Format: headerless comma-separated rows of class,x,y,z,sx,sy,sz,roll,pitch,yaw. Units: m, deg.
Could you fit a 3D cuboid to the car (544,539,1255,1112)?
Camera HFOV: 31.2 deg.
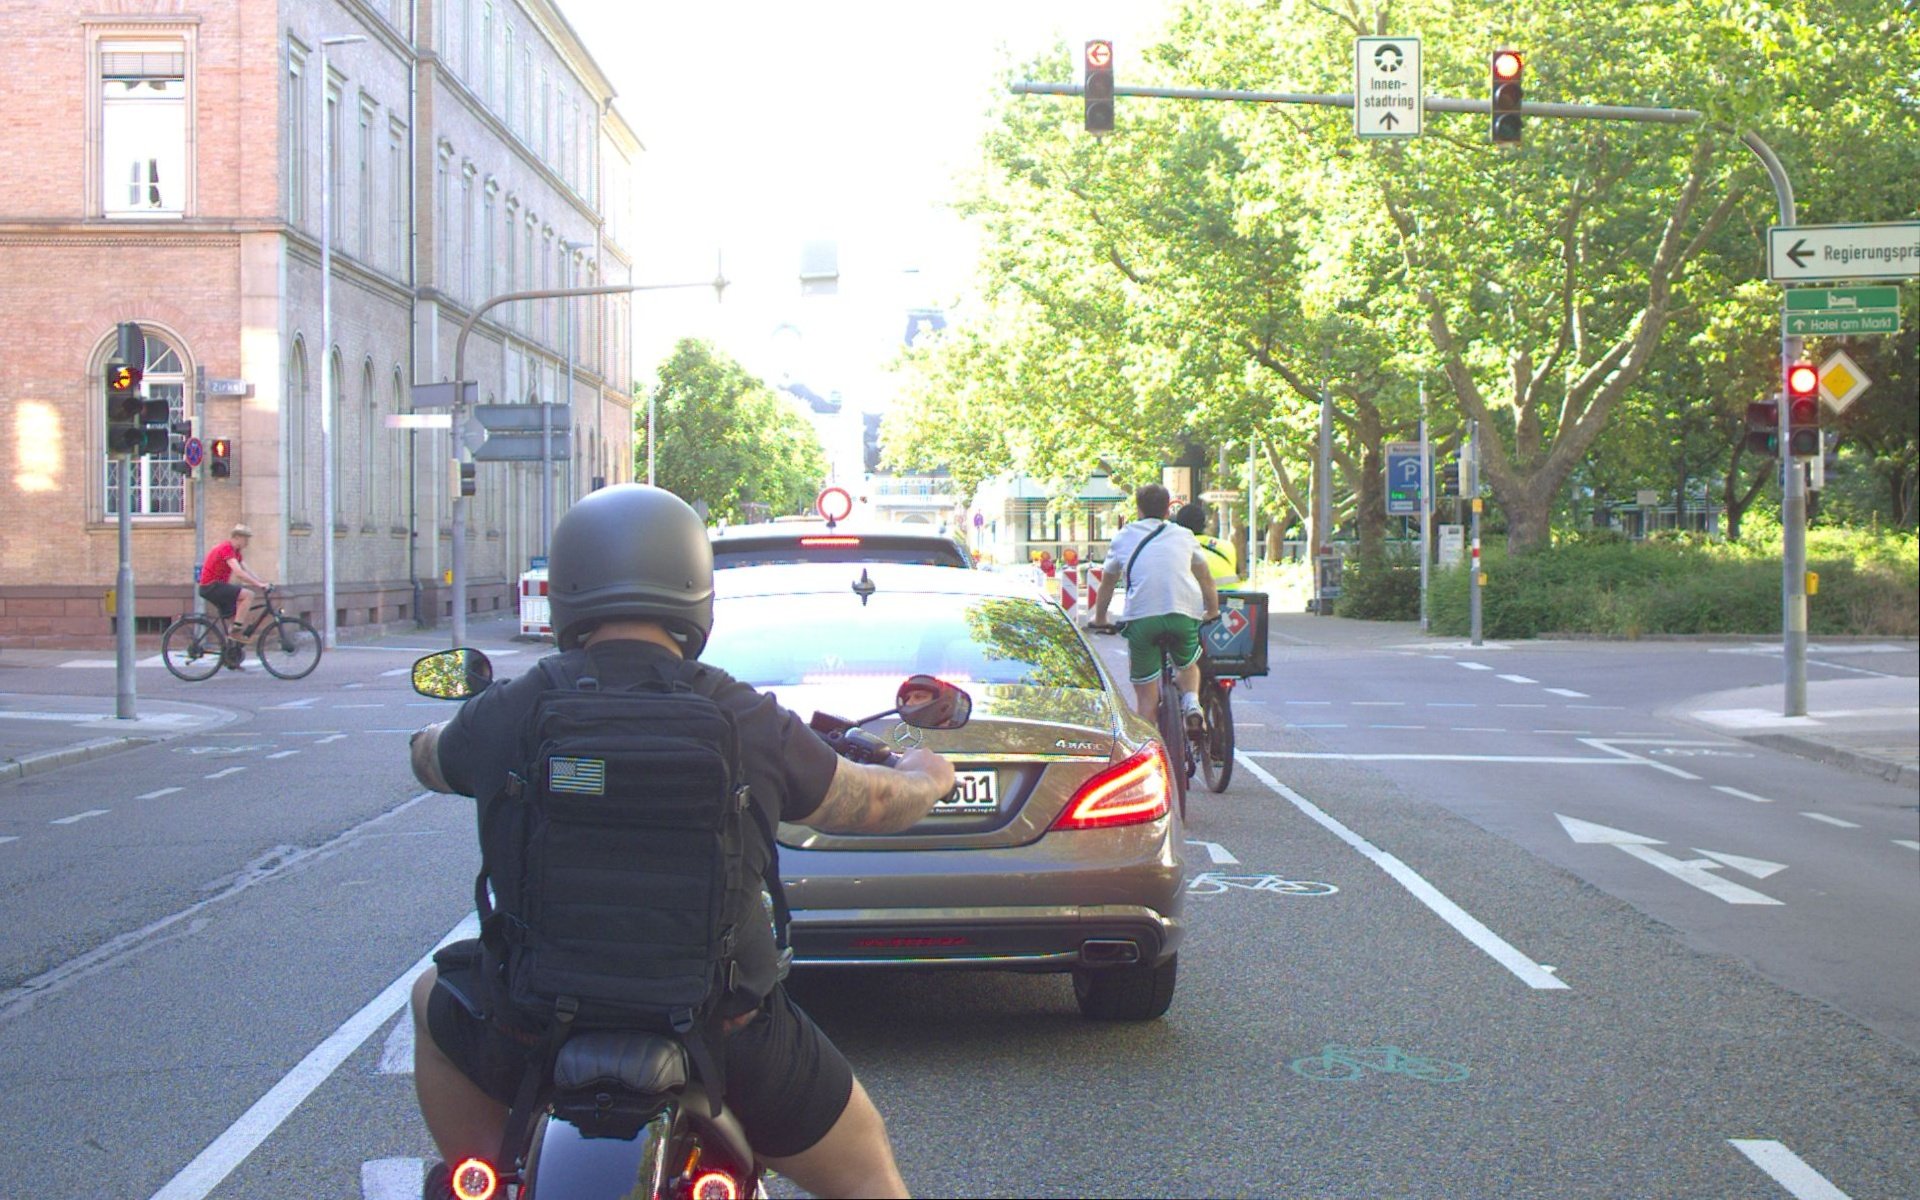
car,-0.406,0.569,11.138,1.824,1.481,4.334,1,1,-7

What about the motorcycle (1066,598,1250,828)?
motorcycle,1.058,0.586,18.812,0.863,1.164,1.930,1,1,-1

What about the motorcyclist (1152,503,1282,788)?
motorcyclist,1.595,0.274,21.437,0.717,1.737,0.751,1,0,-1

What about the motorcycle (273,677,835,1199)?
motorcycle,-0.562,0.777,5.432,0.660,1.236,2.058,1,1,-1

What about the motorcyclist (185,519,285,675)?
motorcyclist,-8.100,-0.038,38.438,0.985,1.716,0.551,1,0,0

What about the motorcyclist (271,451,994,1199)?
motorcyclist,-0.465,0.596,5.338,0.990,1.605,1.120,1,0,-1

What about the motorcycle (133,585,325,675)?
motorcycle,-8.168,0.331,38.442,2.012,0.958,0.580,1,0,0

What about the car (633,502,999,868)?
car,-0.678,0.369,17.703,1.651,1.646,4.000,1,1,-1

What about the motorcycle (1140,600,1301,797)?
motorcycle,1.599,0.584,21.458,0.797,1.128,2.236,1,1,-1

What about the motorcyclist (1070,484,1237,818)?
motorcyclist,1.053,0.267,18.908,0.831,1.782,0.913,1,0,-1
